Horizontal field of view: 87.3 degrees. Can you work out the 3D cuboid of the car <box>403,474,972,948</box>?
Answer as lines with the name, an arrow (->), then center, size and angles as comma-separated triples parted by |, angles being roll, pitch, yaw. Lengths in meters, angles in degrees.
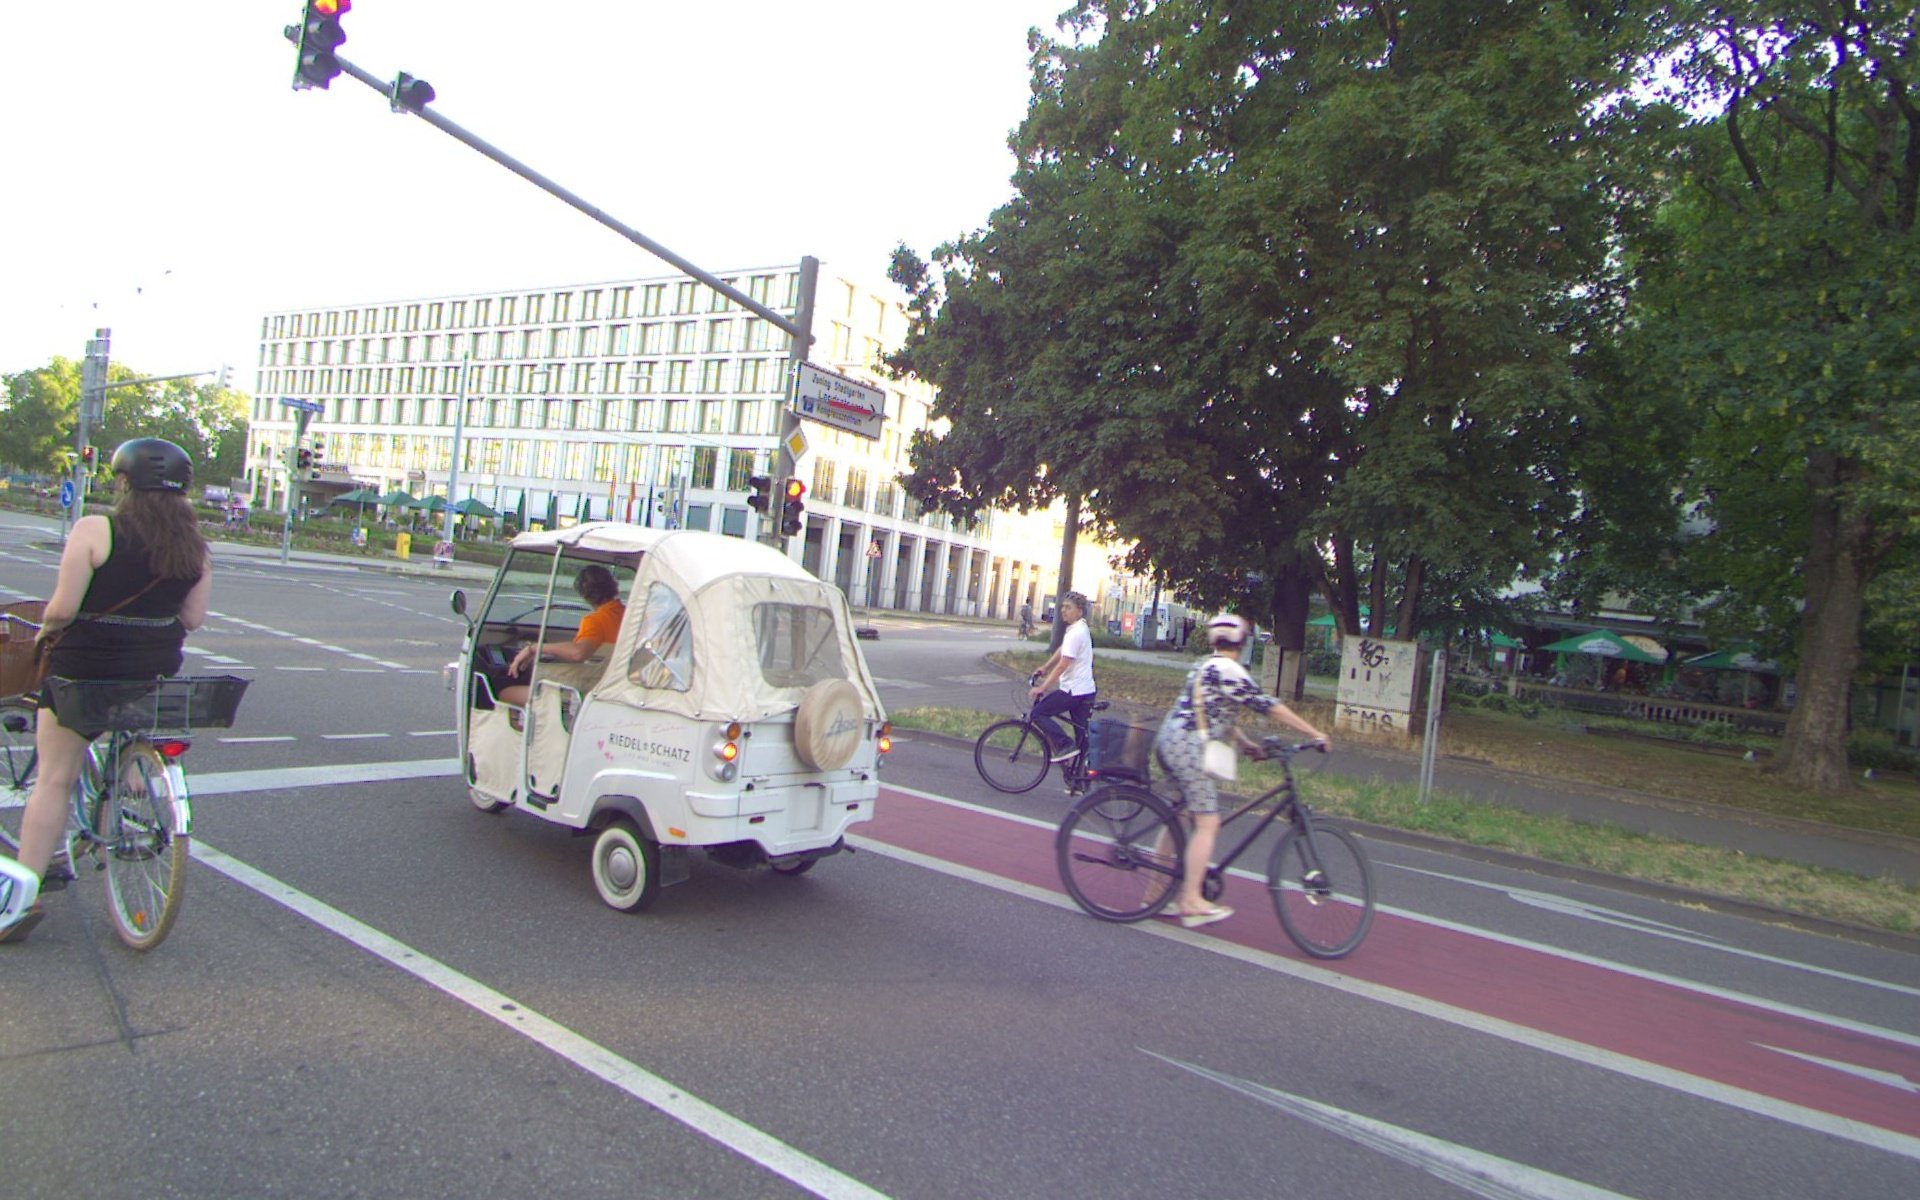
car -> -1.486, 0.418, 5.352 | 2.523, 1.803, 1.460 | 8, 1, 34

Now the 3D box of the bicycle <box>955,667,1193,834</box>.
bicycle -> 0.966, 1.271, 8.842 | 1.875, 1.081, 0.728 | 7, -1, 40

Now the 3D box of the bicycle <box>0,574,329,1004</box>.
bicycle -> -3.219, 0.535, 3.671 | 2.035, 1.082, 0.638 | 7, 0, 32

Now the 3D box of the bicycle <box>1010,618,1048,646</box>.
bicycle -> 3.090, 1.439, 45.104 | 0.719, 1.082, 1.898 | 7, -1, 35

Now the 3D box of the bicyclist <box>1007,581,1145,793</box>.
bicyclist -> 1.021, 0.746, 8.849 | 0.738, 1.714, 0.761 | 7, 1, 41

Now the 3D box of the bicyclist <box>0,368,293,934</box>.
bicyclist -> -2.914, 0.141, 3.489 | 0.736, 1.714, 0.629 | 7, 1, 31

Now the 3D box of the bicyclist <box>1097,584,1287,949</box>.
bicyclist -> 1.215, 0.821, 5.330 | 0.734, 1.714, 0.715 | 7, 1, 13

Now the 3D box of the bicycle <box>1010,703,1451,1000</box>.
bicycle -> 1.357, 1.242, 5.300 | 1.983, 1.082, 0.731 | 7, 0, 12

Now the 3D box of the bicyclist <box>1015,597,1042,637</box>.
bicyclist -> 3.061, 0.759, 44.941 | 0.704, 1.714, 0.746 | 7, 1, 35
